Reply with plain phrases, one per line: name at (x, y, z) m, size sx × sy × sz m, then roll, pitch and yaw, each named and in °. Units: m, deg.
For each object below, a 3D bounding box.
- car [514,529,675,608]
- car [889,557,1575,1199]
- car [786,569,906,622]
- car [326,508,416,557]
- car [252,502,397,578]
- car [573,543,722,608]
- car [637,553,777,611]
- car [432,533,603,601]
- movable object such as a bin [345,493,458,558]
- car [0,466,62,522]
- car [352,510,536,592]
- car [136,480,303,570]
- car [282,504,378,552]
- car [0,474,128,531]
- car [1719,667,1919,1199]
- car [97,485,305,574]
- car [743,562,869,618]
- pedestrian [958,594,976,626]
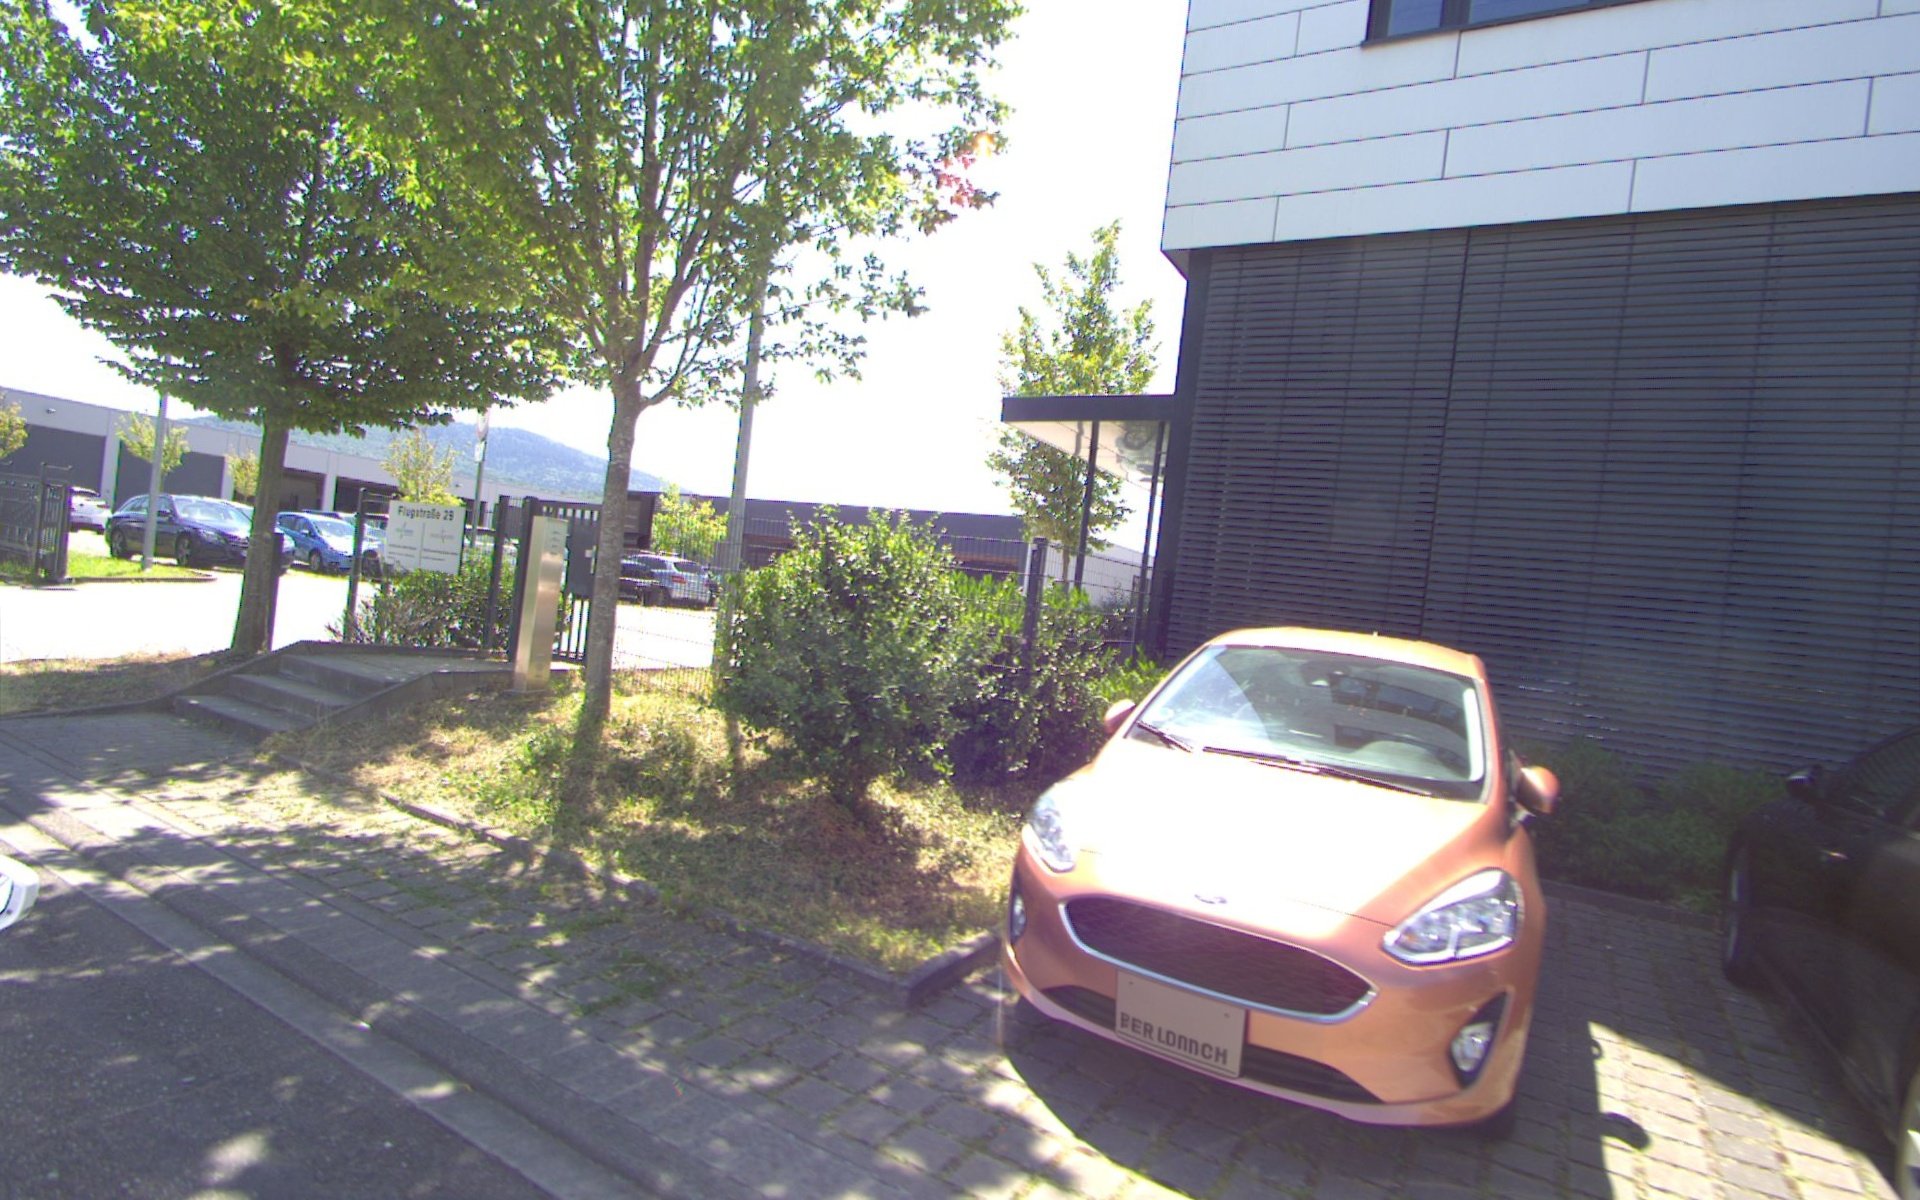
car at (-10.776, -0.930, 29.626) m, size 4.440 × 1.923 × 1.914 m, roll 5°, pitch -1°, yaw 30°
car at (1.552, 0.797, 4.464) m, size 1.695 × 1.514 × 3.992 m, roll 7°, pitch 1°, yaw 29°
car at (-4.653, -0.205, 40.963) m, size 4.455 × 1.736 × 1.914 m, roll 5°, pitch -1°, yaw 30°
car at (-33.971, -3.909, 57.968) m, size 5.413 × 2.508 × 1.883 m, roll 4°, pitch -1°, yaw 29°
car at (-17.749, -1.688, 28.065) m, size 3.954 × 1.511 × 1.648 m, roll 9°, pitch 1°, yaw 29°
car at (-9.918, -0.798, 31.868) m, size 4.440 × 1.642 × 1.914 m, roll 5°, pitch -1°, yaw 30°
car at (-8.637, -0.622, 34.282) m, size 4.440 × 1.552 × 1.914 m, roll 5°, pitch -1°, yaw 30°
car at (-12.124, -0.919, 27.524) m, size 4.572 × 1.450 × 1.842 m, roll 5°, pitch -1°, yaw 30°
movable object such as a bin at (-43.336, -5.810, 77.990) m, size 8.520 × 4.024 × 3.545 m, roll 7°, pitch 1°, yaw 30°
car at (-32.748, -3.743, 34.317) m, size 4.346 × 1.550 × 1.792 m, roll 9°, pitch 1°, yaw 30°
car at (-13.092, -1.259, 25.477) m, size 4.572 × 1.674 × 1.842 m, roll 5°, pitch -1°, yaw 30°
car at (-18.965, -1.931, 25.747) m, size 4.169 × 1.643 × 1.792 m, roll 9°, pitch 1°, yaw 29°
car at (-34.682, -3.951, 55.340) m, size 5.561 × 2.291 × 1.883 m, roll 4°, pitch -1°, yaw 29°
car at (-28.172, -3.075, 31.566) m, size 4.073 × 1.450 × 1.792 m, roll 5°, pitch -1°, yaw 30°
car at (3.526, 1.068, 2.686) m, size 1.752 × 1.514 × 3.716 m, roll 7°, pitch 1°, yaw 29°
car at (-15.778, -1.467, 20.865) m, size 4.335 × 1.472 × 1.792 m, roll 5°, pitch -1°, yaw 30°
car at (-5.905, -0.379, 38.495) m, size 4.455 × 1.736 × 1.914 m, roll 5°, pitch -1°, yaw 30°
pedestrian at (0.399, 0.538, 55.648) m, size 0.510 × 1.679 × 0.702 m, roll 7°, pitch 2°, yaw 37°
